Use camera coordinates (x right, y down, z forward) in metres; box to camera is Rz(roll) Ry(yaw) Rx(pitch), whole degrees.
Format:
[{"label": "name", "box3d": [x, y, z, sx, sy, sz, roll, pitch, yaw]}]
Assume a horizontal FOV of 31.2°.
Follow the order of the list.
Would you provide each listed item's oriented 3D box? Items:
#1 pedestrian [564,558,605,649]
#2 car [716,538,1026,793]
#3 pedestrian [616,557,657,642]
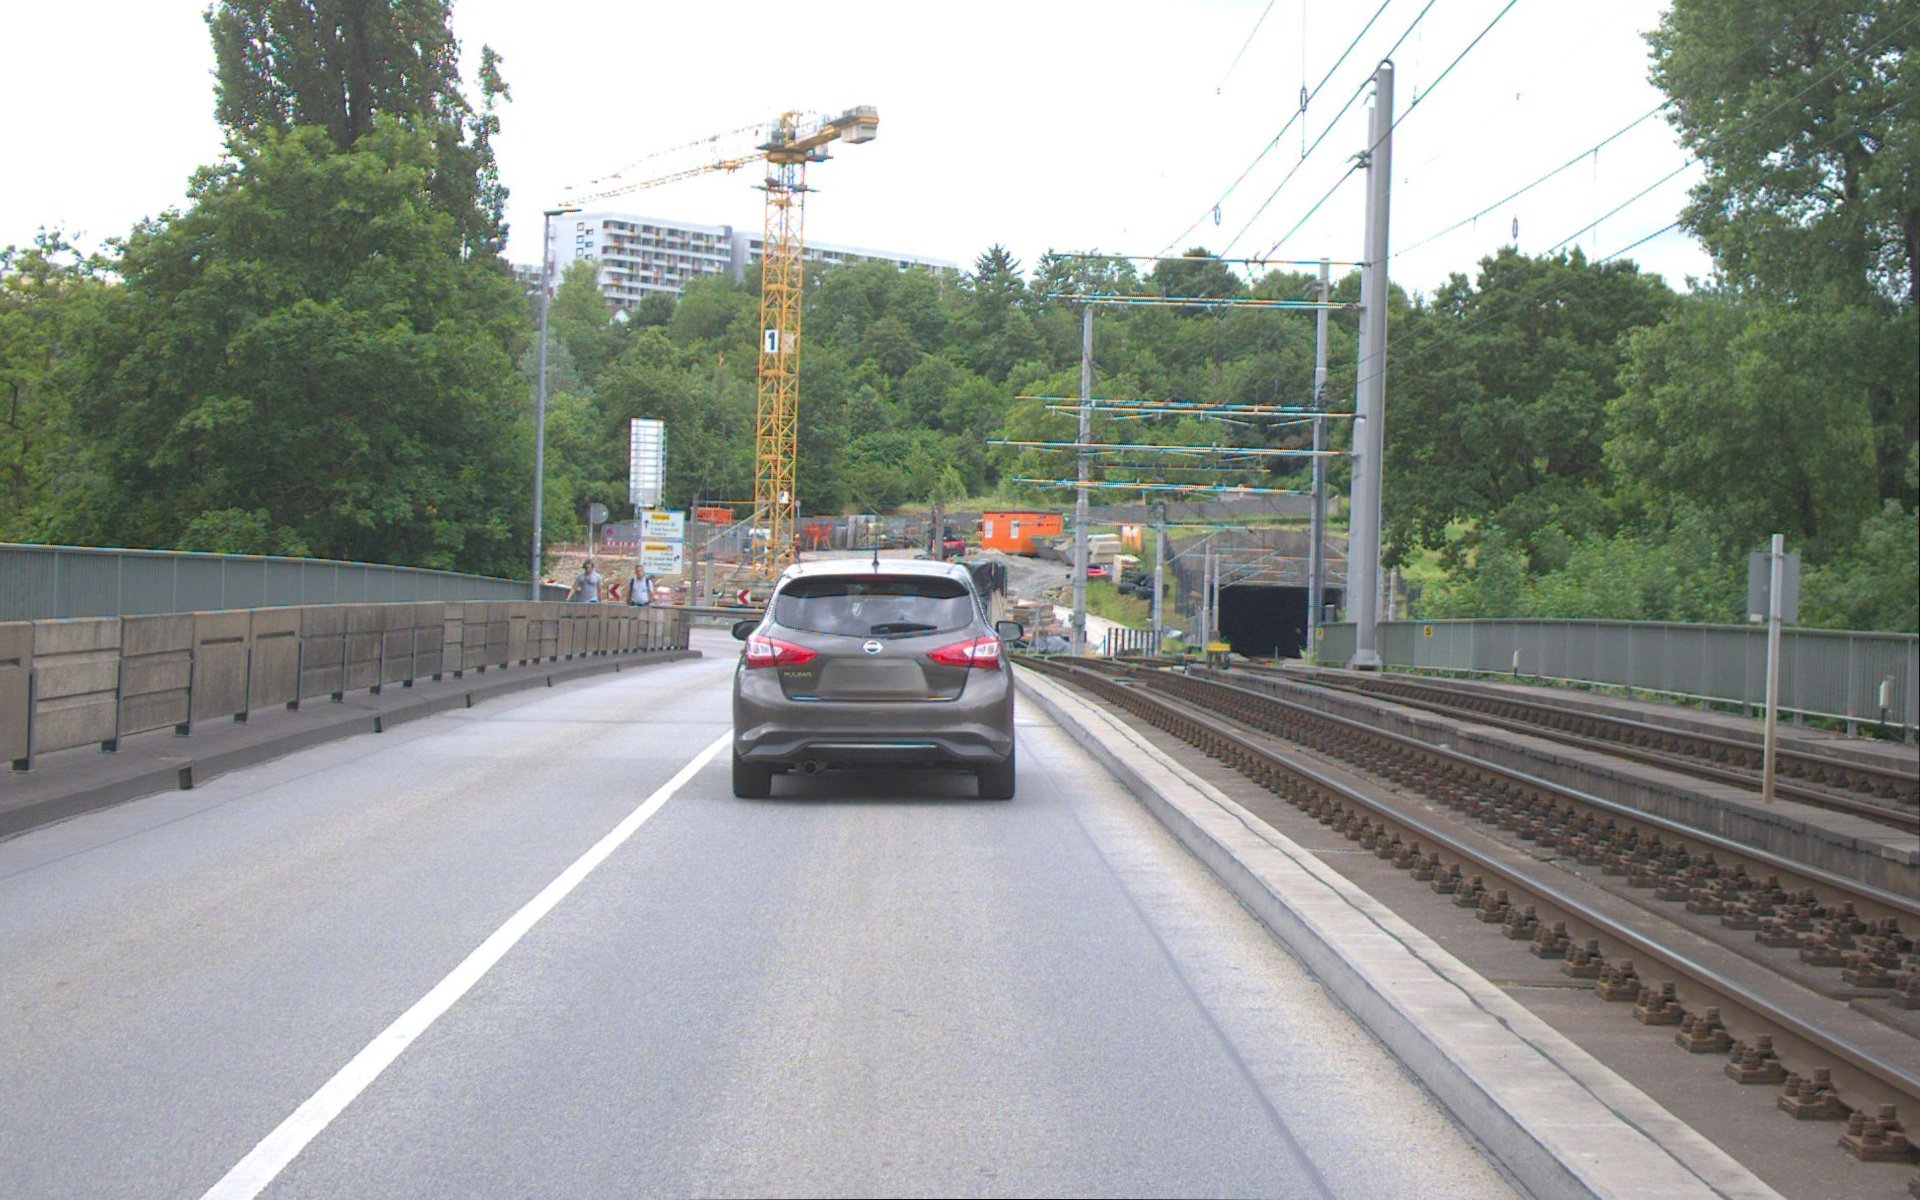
[{"label": "pedestrian", "box3d": [-7.646, 0.074, 70.080, 0.721, 1.833, 0.723, 2, 0, -1]}, {"label": "car", "box3d": [-0.672, 0.398, 22.700, 1.829, 1.505, 4.000, 1, 0, -4]}, {"label": "pedestrian", "box3d": [-6.513, -0.013, 69.203, 0.721, 1.695, 0.723, 2, 0, -1]}]
